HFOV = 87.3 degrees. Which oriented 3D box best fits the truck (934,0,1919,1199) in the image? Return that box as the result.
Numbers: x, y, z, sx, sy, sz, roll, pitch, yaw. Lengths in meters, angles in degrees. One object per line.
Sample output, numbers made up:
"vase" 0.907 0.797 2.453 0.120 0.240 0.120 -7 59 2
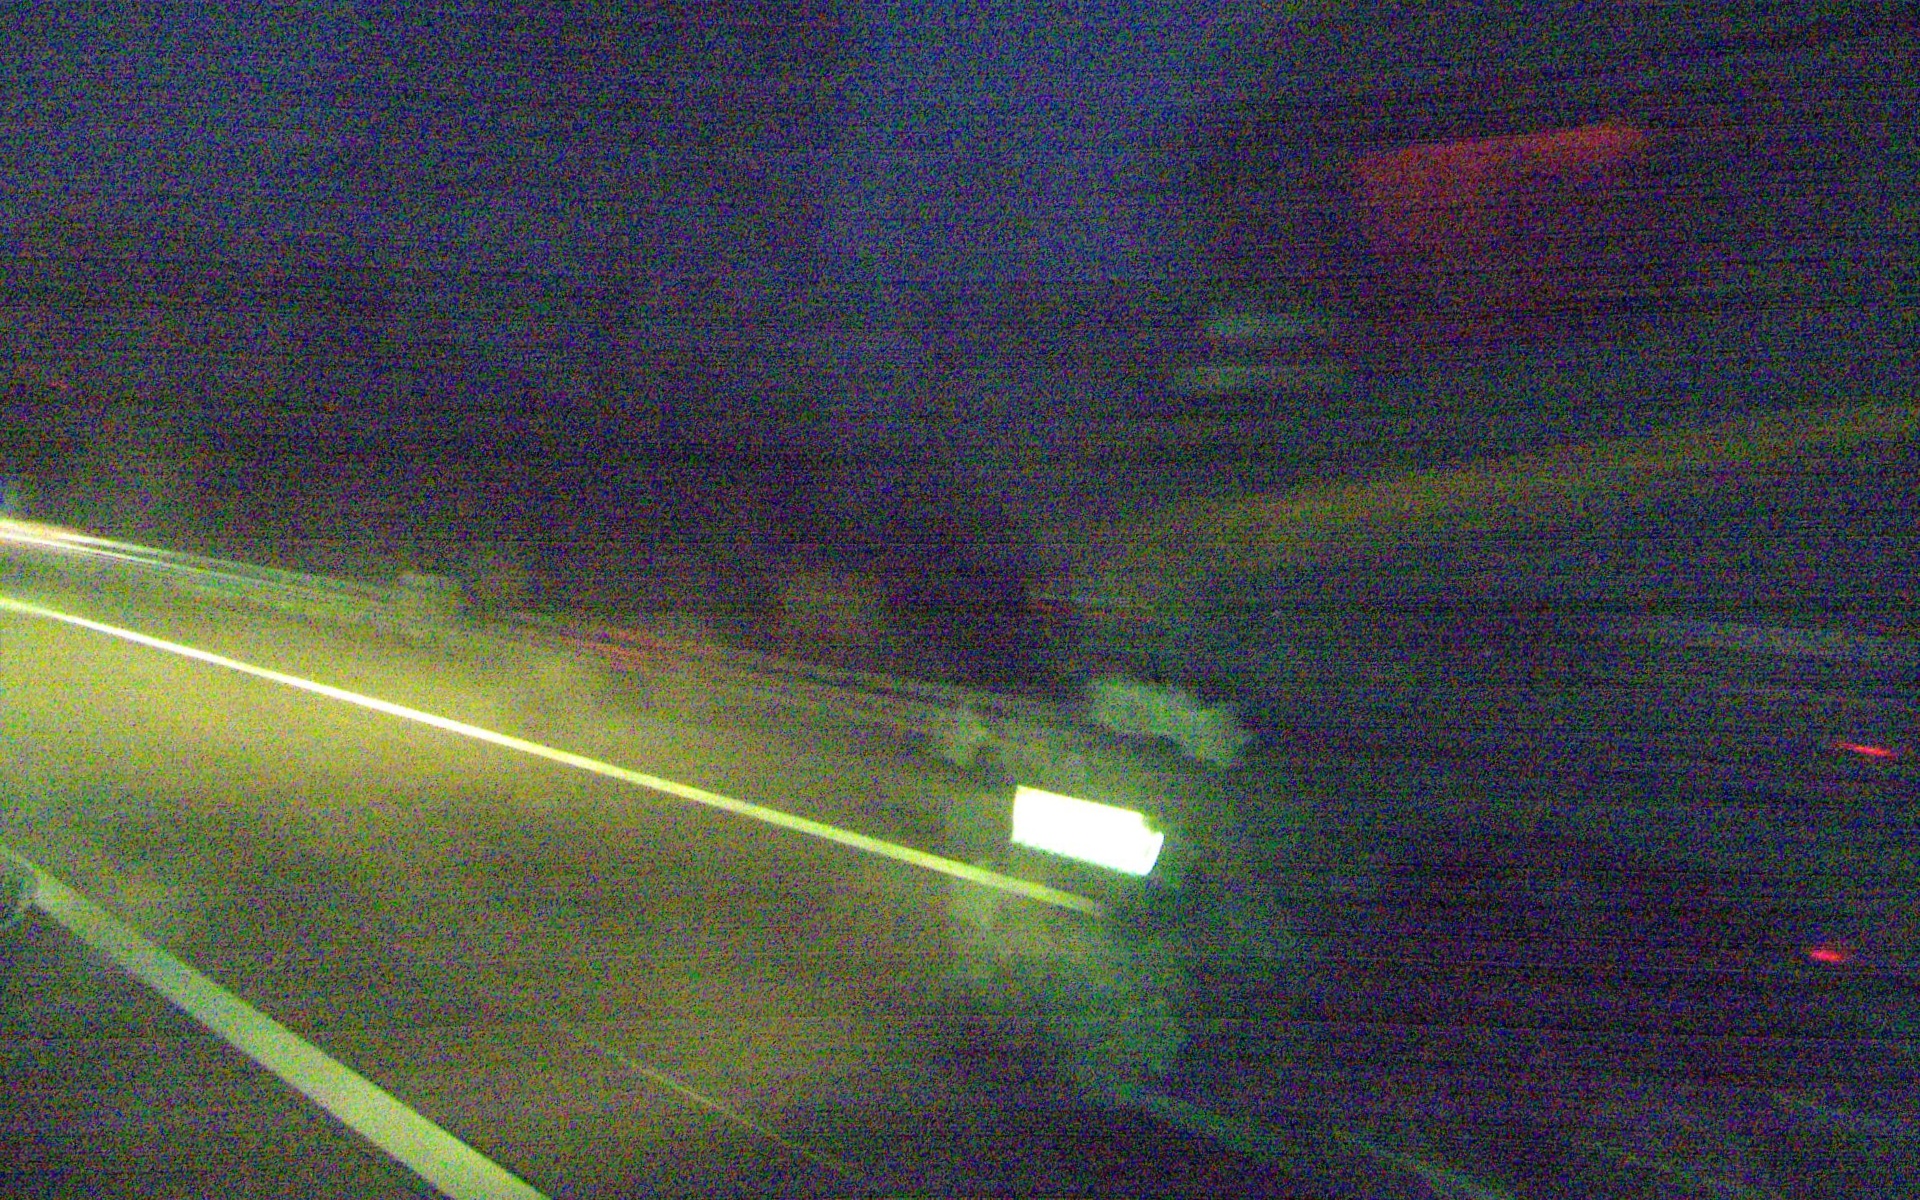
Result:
"truck" 3.087 -0.185 2.756 5.205 4.291 2.715 7 -1 32
